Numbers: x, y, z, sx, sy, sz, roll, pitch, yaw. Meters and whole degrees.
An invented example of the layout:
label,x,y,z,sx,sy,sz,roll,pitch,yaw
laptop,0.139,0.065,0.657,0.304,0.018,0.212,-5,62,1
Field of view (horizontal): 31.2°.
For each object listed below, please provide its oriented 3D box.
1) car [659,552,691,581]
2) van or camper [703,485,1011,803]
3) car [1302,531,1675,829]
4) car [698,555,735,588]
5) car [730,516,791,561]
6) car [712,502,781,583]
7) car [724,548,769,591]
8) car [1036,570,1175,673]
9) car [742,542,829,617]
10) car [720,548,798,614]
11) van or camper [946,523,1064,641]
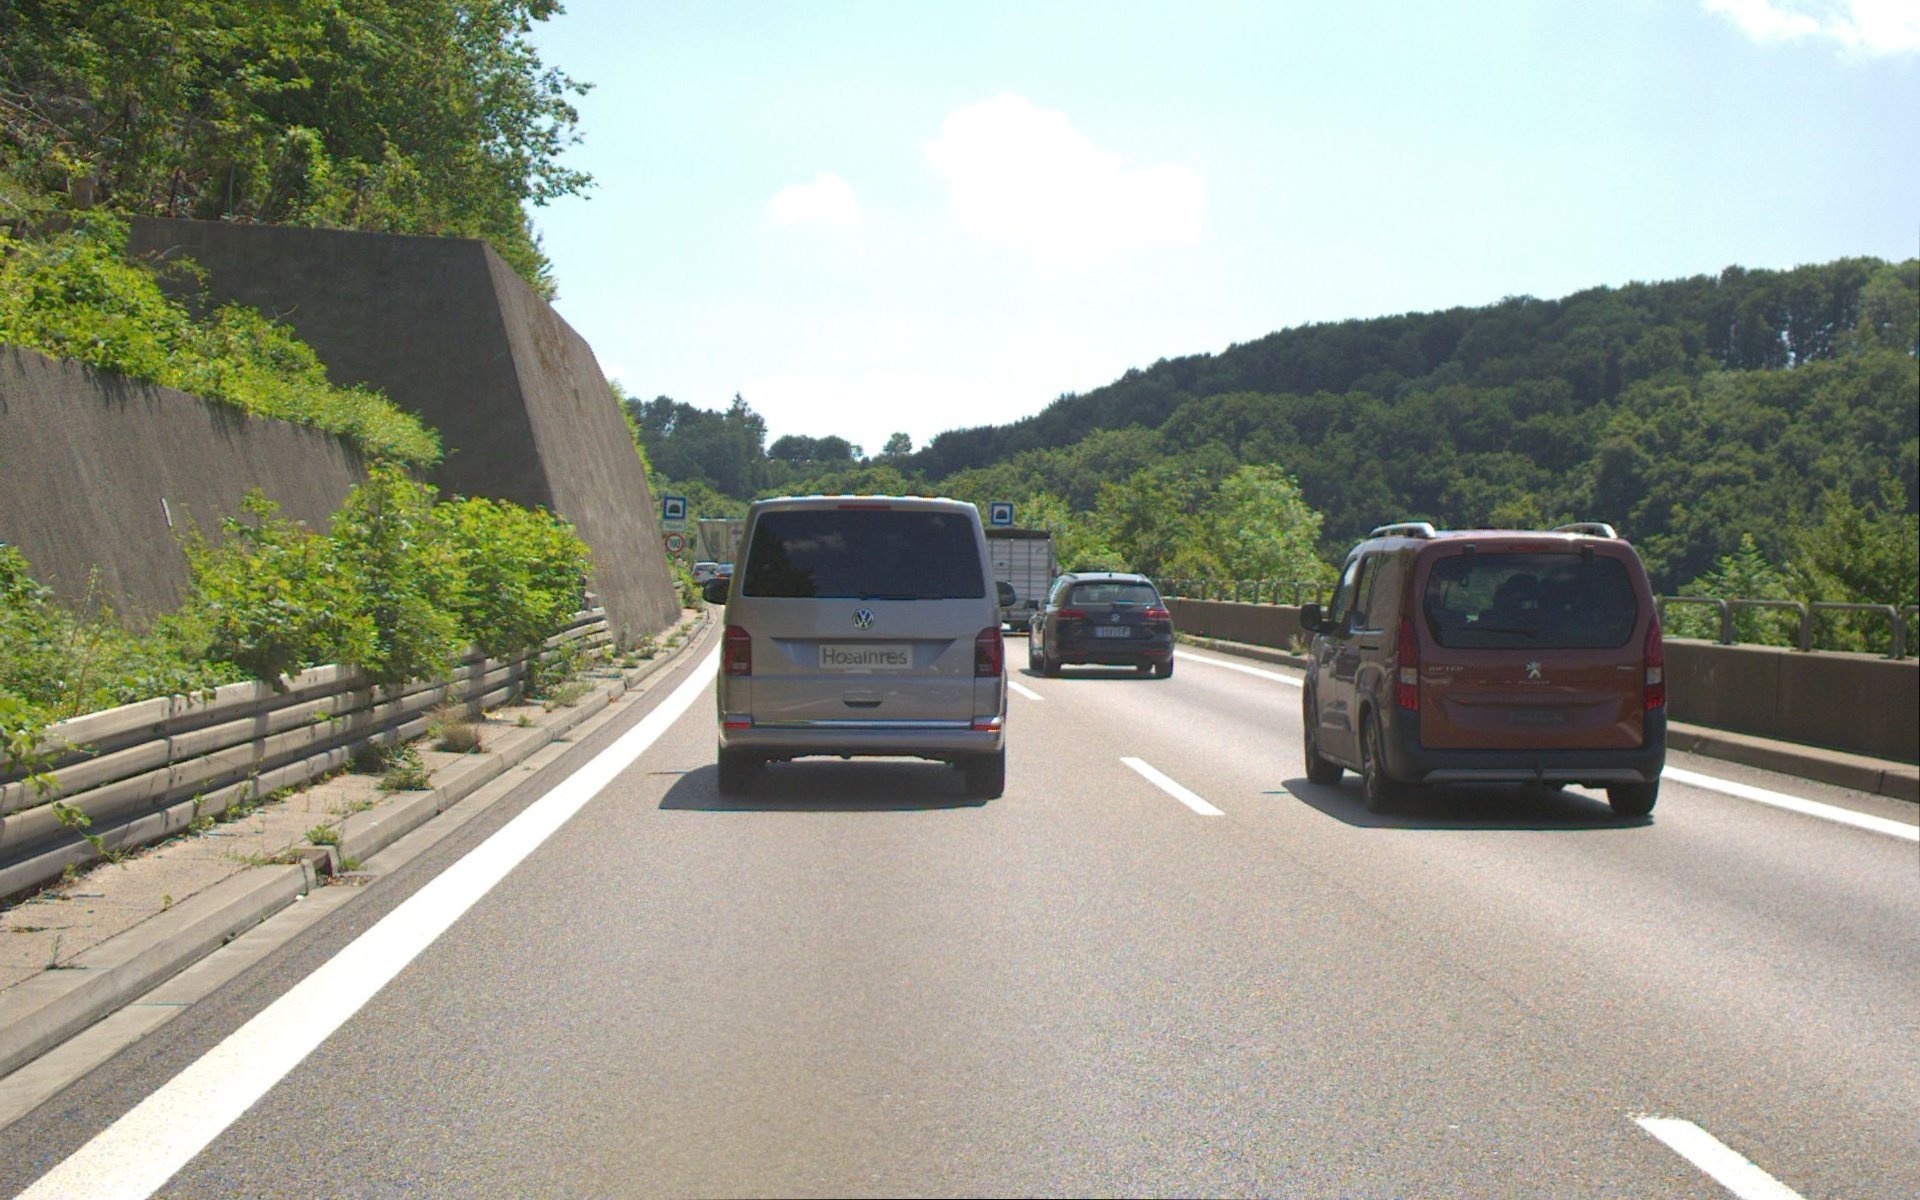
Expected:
label,x,y,z,sx,sy,sz,roll,pitch,yaw
car,-16.989,-2.006,204.940,1.845,1.744,4.001,0,1,-5
van or camper,-0.685,0.273,23.615,1.875,1.943,4.294,1,0,-1
car,3.391,0.473,22.902,1.833,1.778,4.676,0,0,1
car,-12.931,-1.515,182.818,1.845,1.744,4.001,0,1,-3
car,-7.268,-2.225,125.539,2.142,1.601,5.078,0,1,-2
car,-13.213,-3.514,211.728,4.043,4.855,10.111,1,1,-4
car,-10.224,-1.448,164.793,1.993,2.007,4.000,-1,0,-1
car,2.027,0.283,48.602,1.768,1.371,3.593,1,1,0
car,-4.433,-0.535,86.999,1.993,1.811,4.001,1,1,-5
car,-5.980,-0.587,102.678,1.993,1.908,4.000,1,1,1
van or camper,0.965,-0.417,77.117,2.263,2.542,4.737,-1,0,-4
